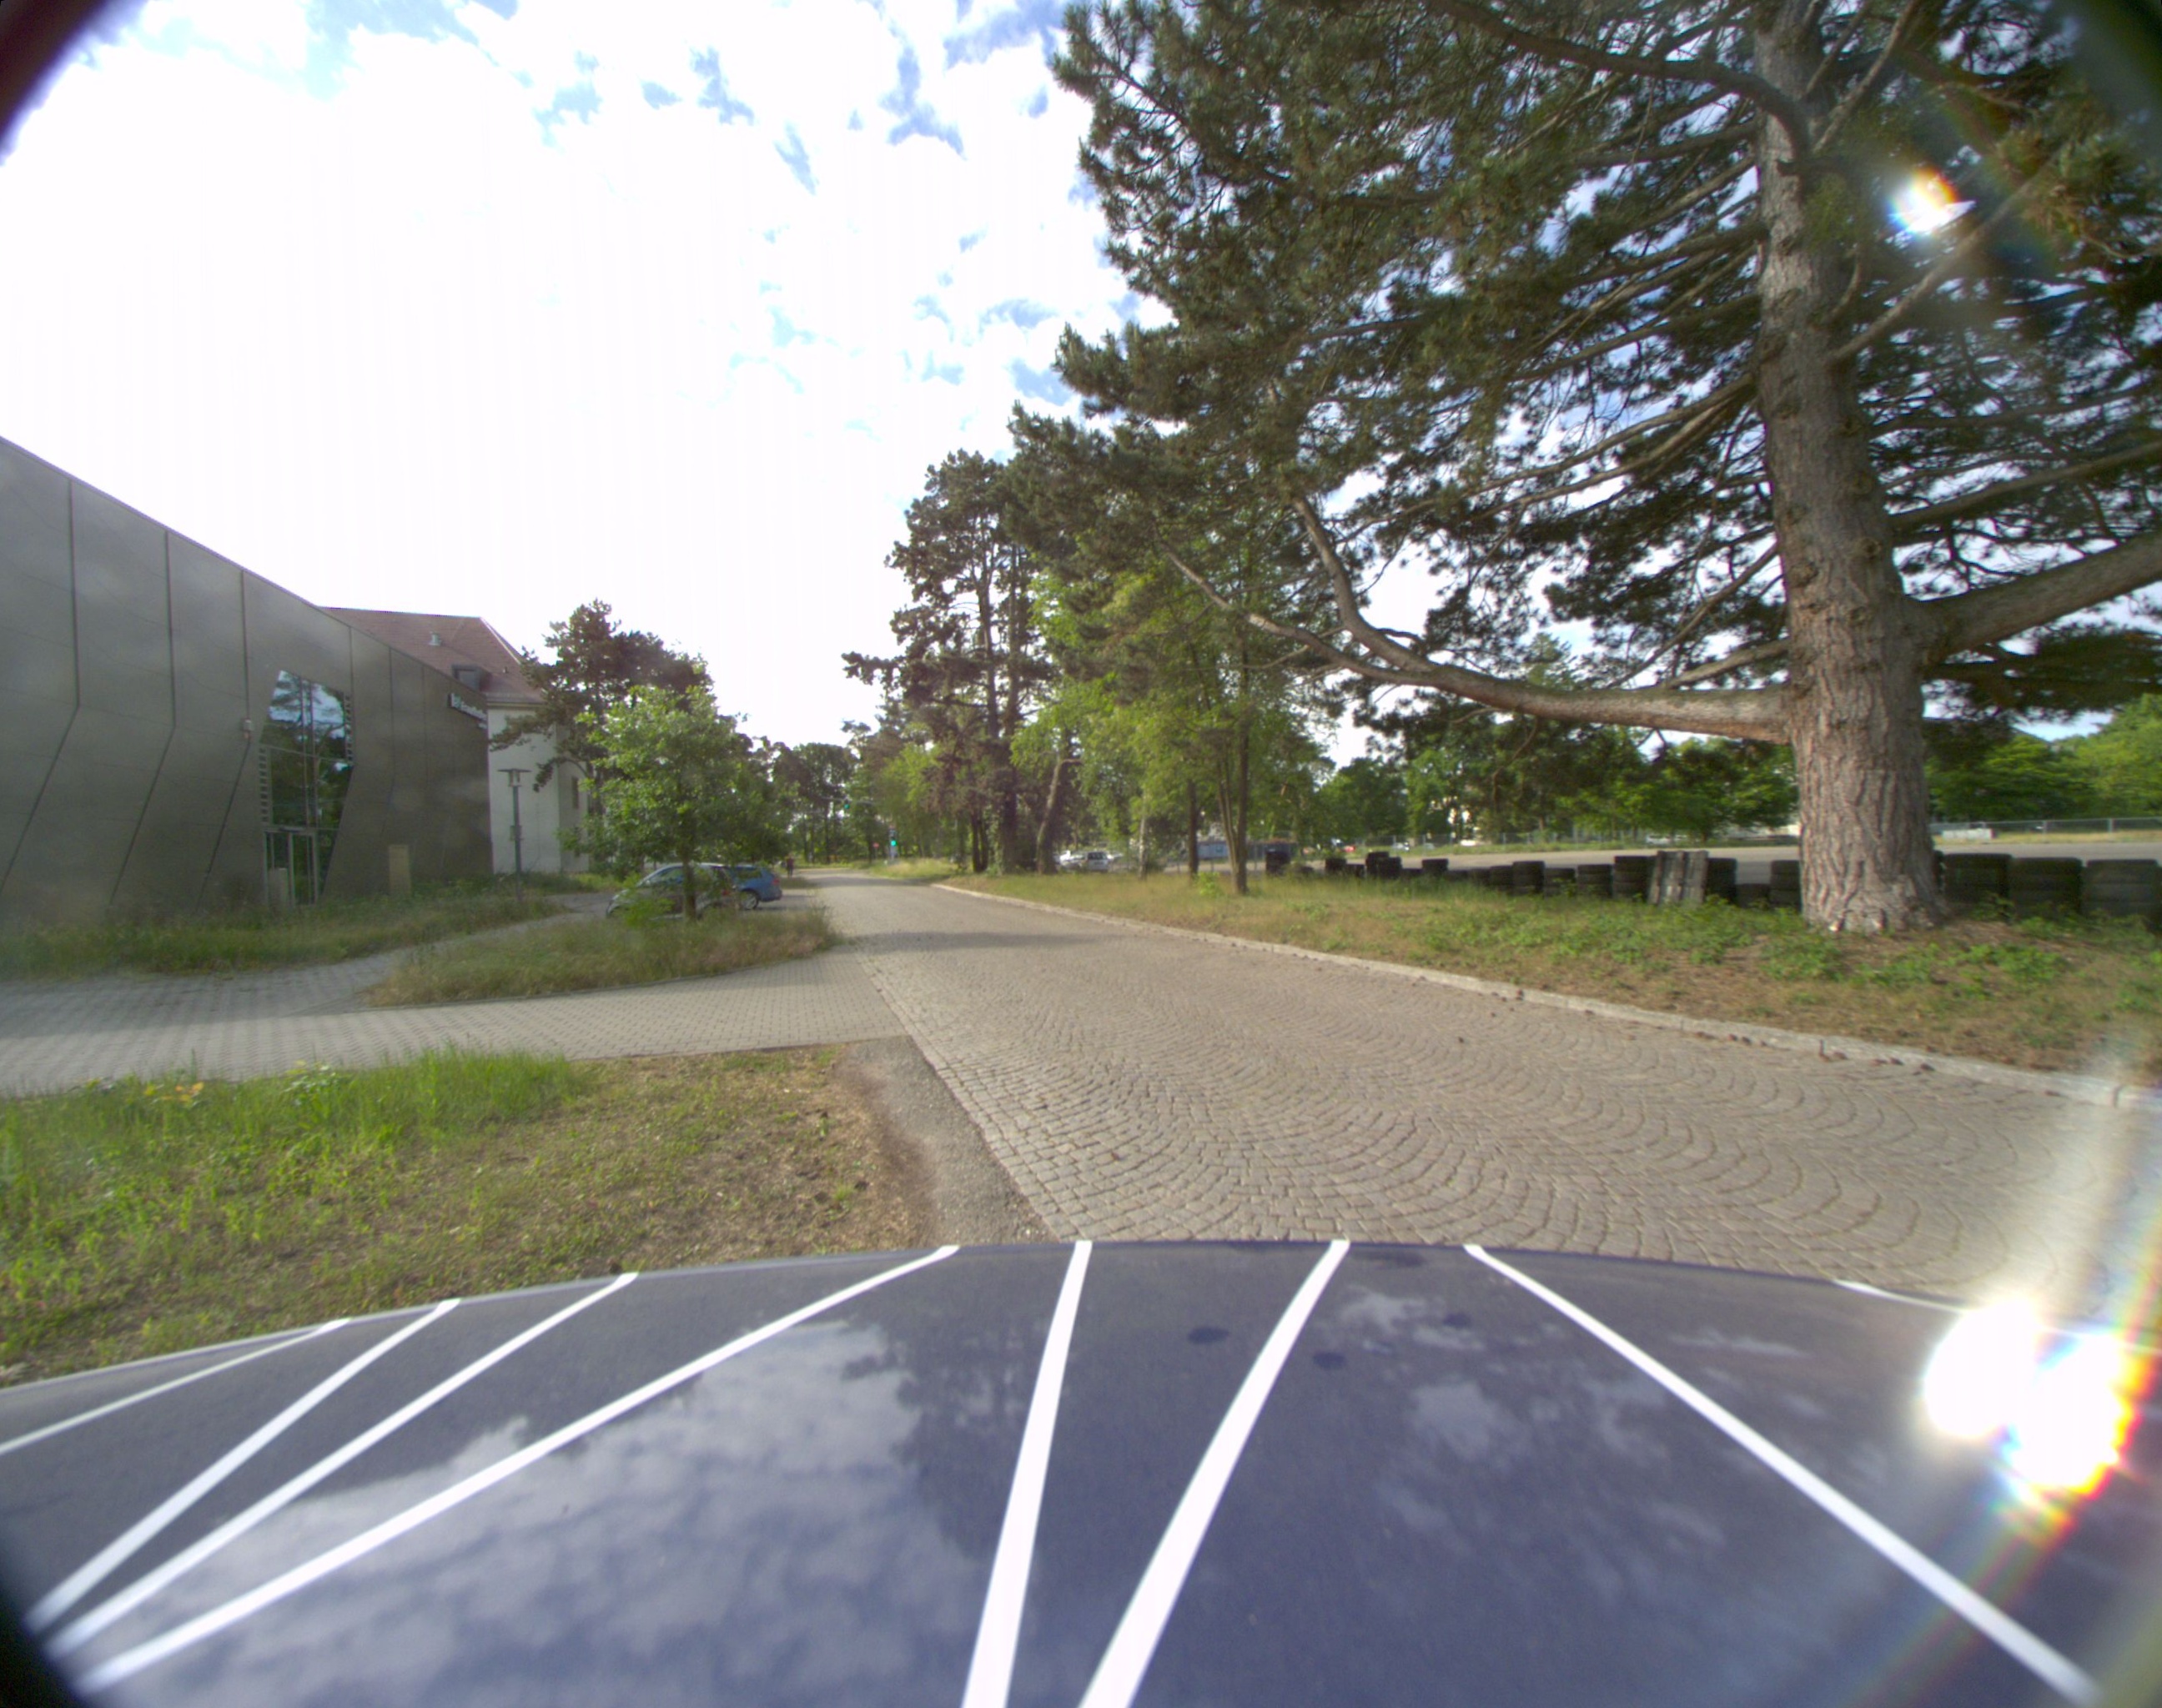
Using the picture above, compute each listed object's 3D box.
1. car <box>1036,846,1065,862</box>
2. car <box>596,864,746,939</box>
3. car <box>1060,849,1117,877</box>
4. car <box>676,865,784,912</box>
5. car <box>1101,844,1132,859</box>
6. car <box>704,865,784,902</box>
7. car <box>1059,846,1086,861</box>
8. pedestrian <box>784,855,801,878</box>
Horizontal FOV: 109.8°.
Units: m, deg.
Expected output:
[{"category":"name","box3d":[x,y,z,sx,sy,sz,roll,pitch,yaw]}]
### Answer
[{"category":"car","box3d":[-3.374,0.007,83.047,2.002,1.608,3.993,-2,1,-20]},{"category":"car","box3d":[-9.450,1.056,17.702,2.771,1.540,1.423,-2,1,-17]},{"category":"car","box3d":[0.378,0.492,44.551,1.894,1.532,3.992,-2,1,-22]},{"category":"car","box3d":[-11.388,1.078,24.725,3.098,1.448,1.489,0,0,-25]},{"category":"car","box3d":[4.009,-0.285,86.700,2.002,1.608,3.993,-2,1,-20]},{"category":"car","box3d":[-14.848,1.251,33.453,3.098,1.442,1.489,-2,1,-26]},{"category":"car","box3d":[-0.926,-0.084,84.233,1.828,1.608,3.993,-2,1,-18]},{"category":"pedestrian","box3d":[-23.180,0.989,61.032,0.960,1.833,0.953,-3,1,-34]}]
